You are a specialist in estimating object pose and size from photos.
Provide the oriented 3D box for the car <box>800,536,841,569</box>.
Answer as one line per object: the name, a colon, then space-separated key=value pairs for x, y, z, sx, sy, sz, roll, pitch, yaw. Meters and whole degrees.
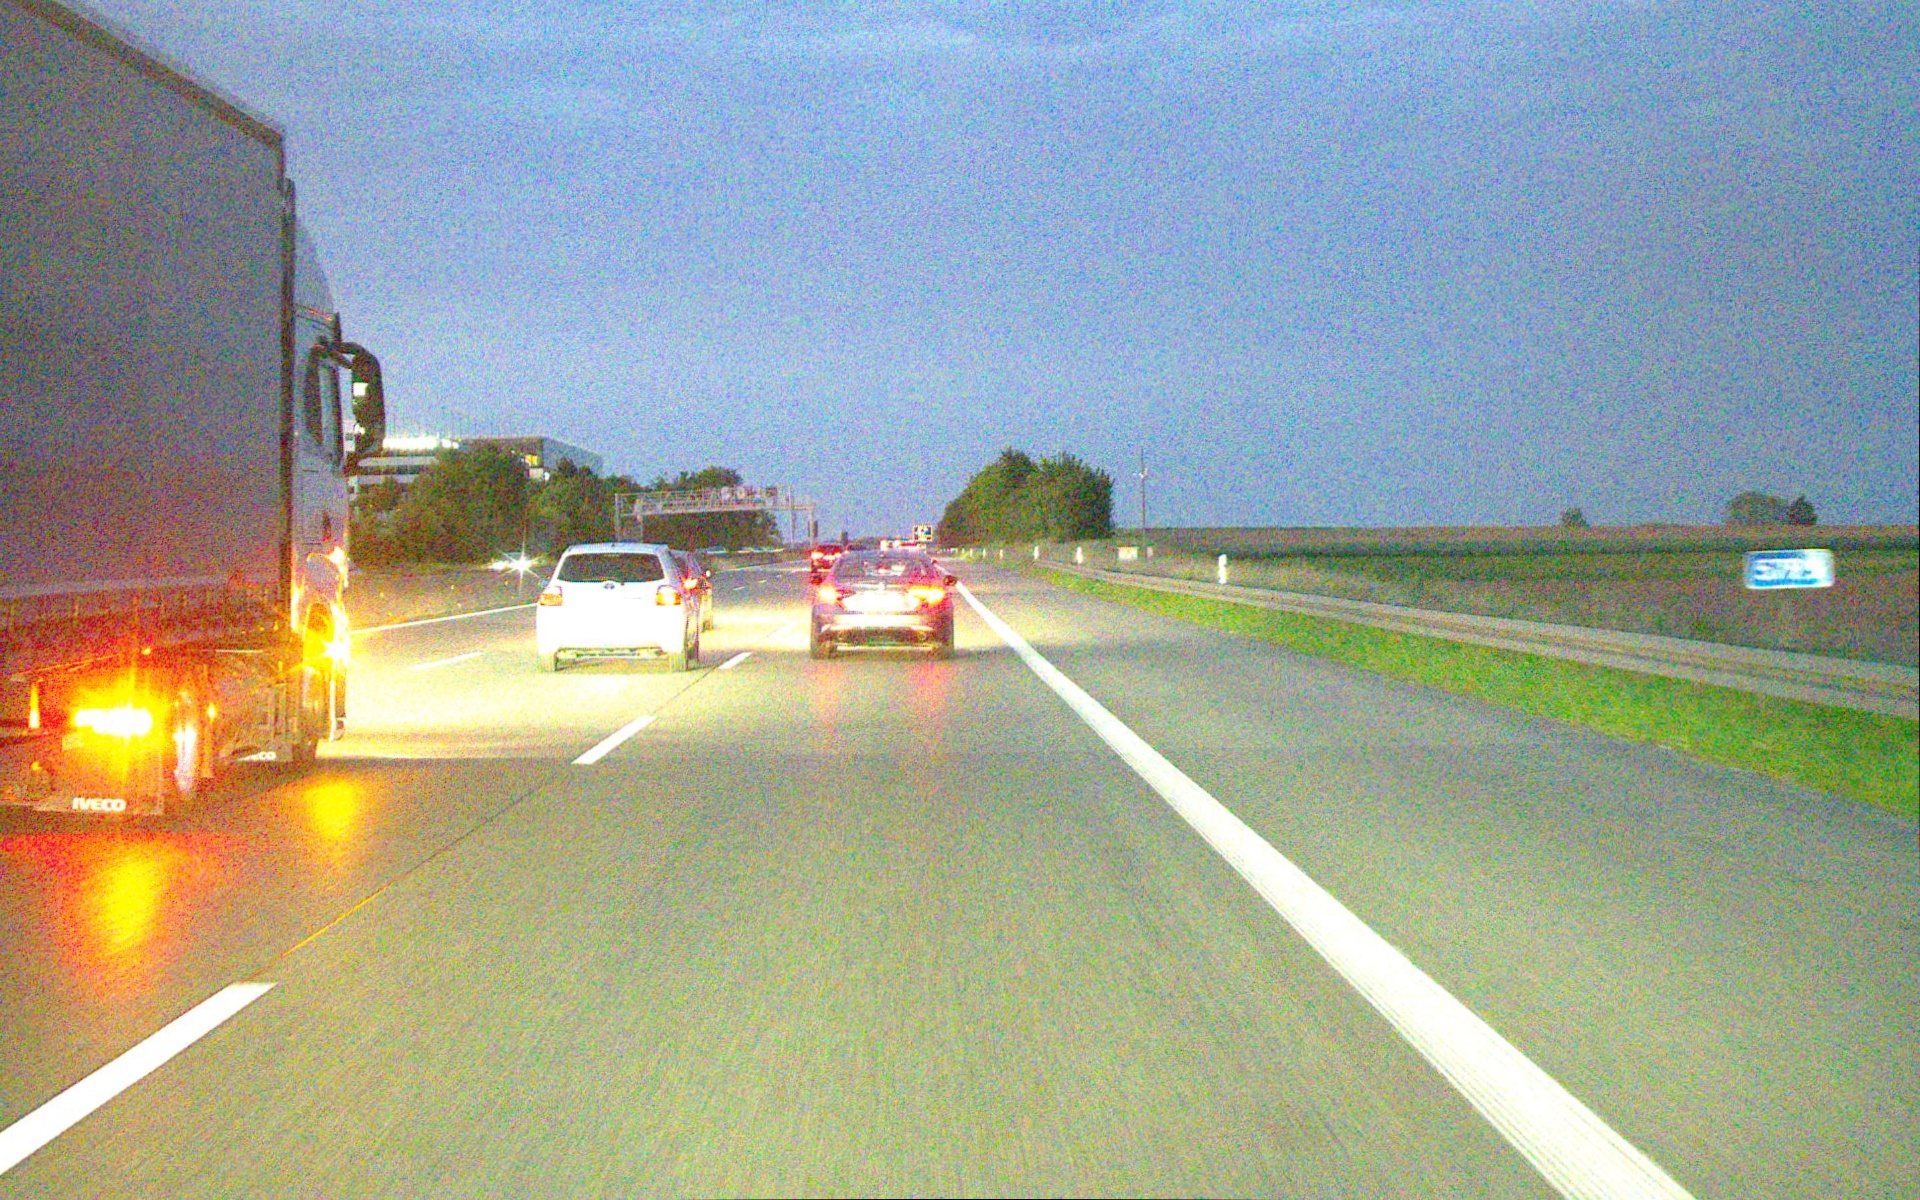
car: x=-6.738 y=-2.301 z=165.962 sx=1.880 sy=1.547 sz=4.000 roll=1 pitch=1 yaw=-1

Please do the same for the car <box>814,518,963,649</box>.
car: x=-0.939 y=-0.226 z=45.716 sx=1.880 sy=1.637 sz=4.000 roll=1 pitch=1 yaw=-1

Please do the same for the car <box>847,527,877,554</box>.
car: x=-7.219 y=-4.377 z=253.517 sx=2.199 sy=1.873 sz=4.000 roll=1 pitch=1 yaw=-1

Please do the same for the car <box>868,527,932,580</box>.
car: x=-1.834 y=-1.394 z=103.679 sx=1.880 sy=1.547 sz=4.000 roll=1 pitch=1 yaw=-1

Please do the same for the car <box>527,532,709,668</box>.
car: x=-4.039 y=-0.021 z=41.183 sx=1.744 sy=1.519 sz=4.414 roll=1 pitch=1 yaw=0

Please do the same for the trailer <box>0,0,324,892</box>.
trailer: x=-5.384 y=-0.813 z=14.099 sx=2.794 sy=4.071 sz=14.526 roll=0 pitch=1 yaw=0

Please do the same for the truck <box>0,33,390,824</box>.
truck: x=-5.373 y=-0.908 z=20.825 sx=2.777 sy=4.078 sz=6.103 roll=0 pitch=0 yaw=0
